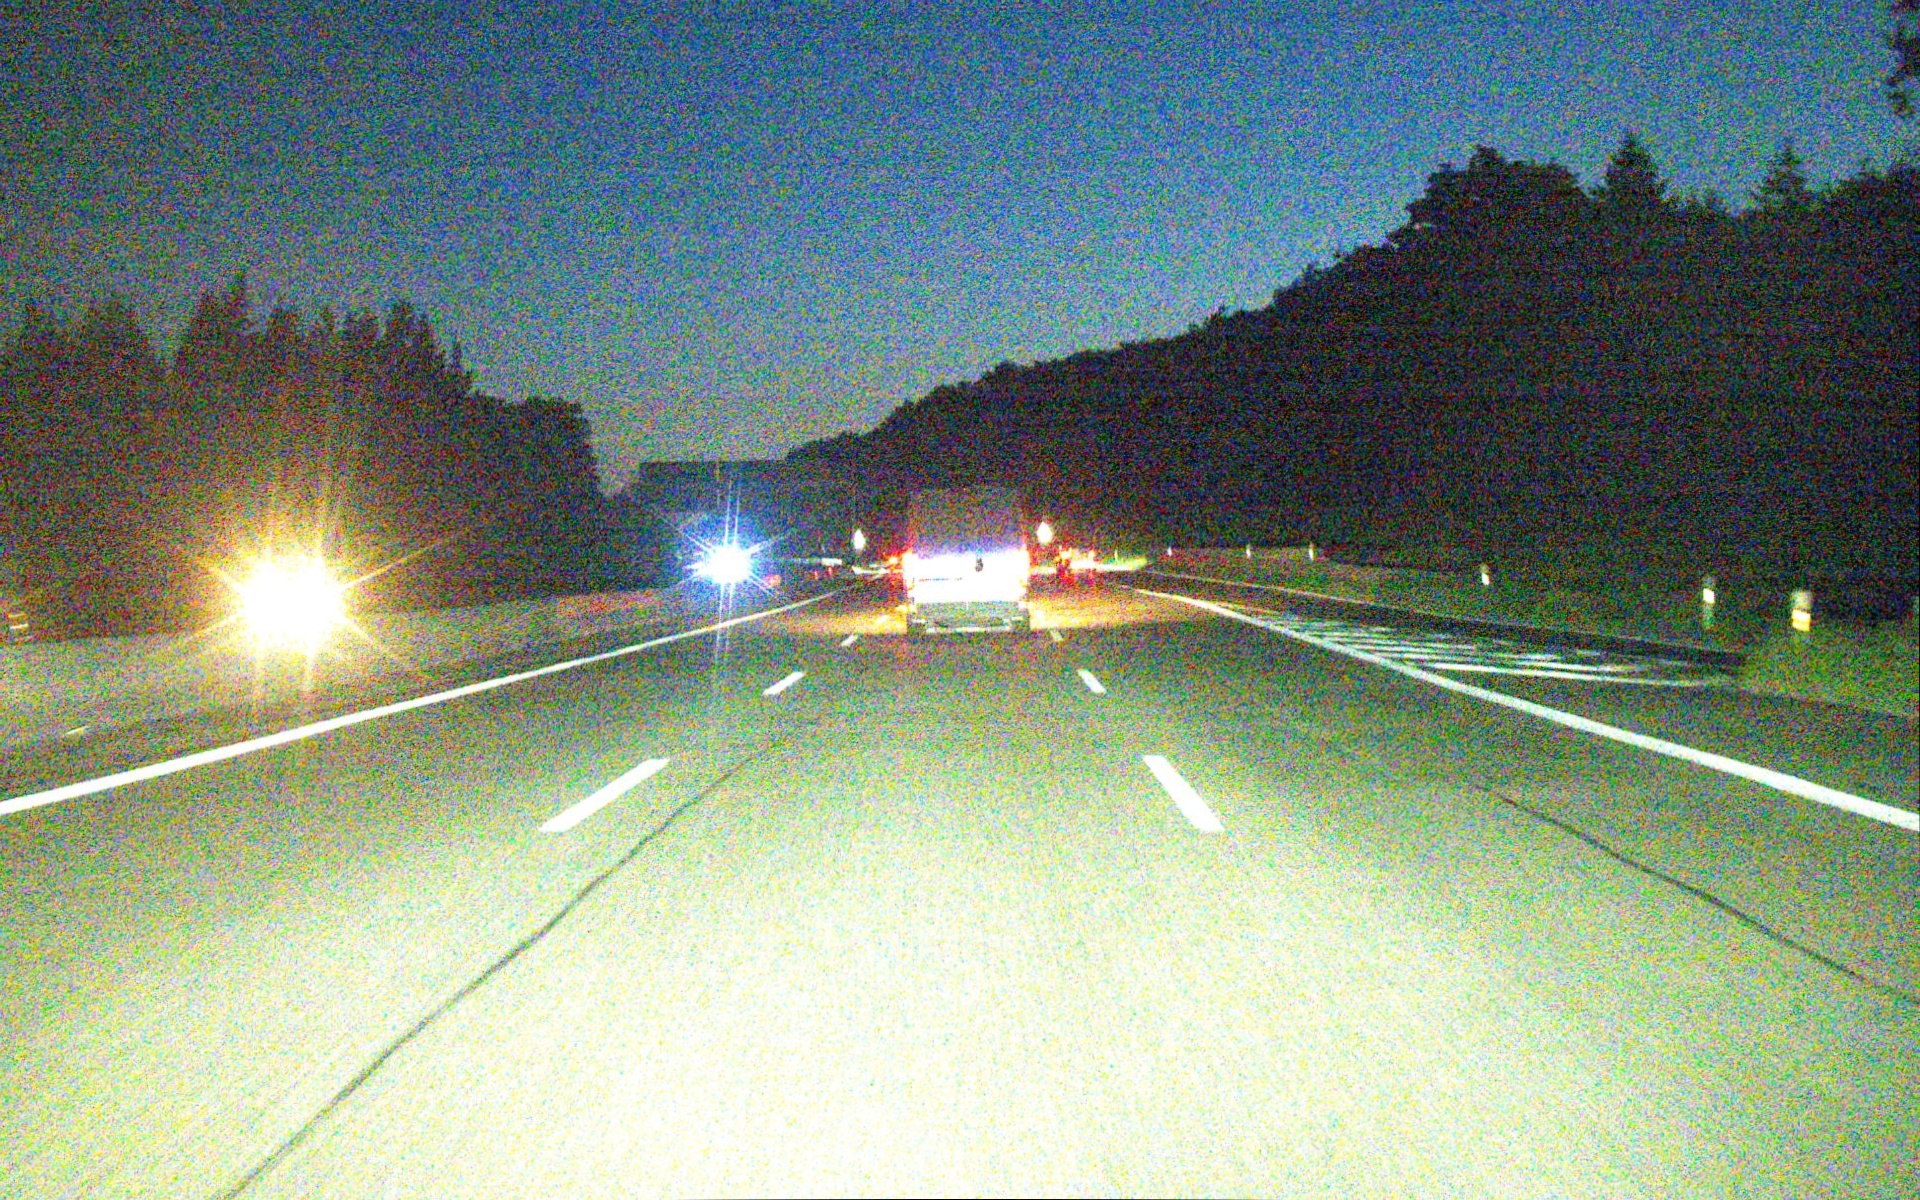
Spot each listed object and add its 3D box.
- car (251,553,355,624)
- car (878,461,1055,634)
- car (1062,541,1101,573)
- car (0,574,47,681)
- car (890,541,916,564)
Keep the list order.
[{"bbox_3d":[-19.133,-0.357,100.324,2.028,1.962,5.397,-1,1,0],"label":"car"},{"bbox_3d":[0.100,-0.868,57.493,2.786,2.724,6.299,0,1,0],"label":"car"},{"bbox_3d":[6.300,-2.253,179.153,1.843,1.634,4.000,-1,1,0],"label":"car"},{"bbox_3d":[-15.449,0.446,52.019,1.932,1.599,4.954,-1,1,0],"label":"car"},{"bbox_3d":[-4.194,-3.487,253.878,1.843,1.634,4.000,-1,1,0],"label":"car"}]
